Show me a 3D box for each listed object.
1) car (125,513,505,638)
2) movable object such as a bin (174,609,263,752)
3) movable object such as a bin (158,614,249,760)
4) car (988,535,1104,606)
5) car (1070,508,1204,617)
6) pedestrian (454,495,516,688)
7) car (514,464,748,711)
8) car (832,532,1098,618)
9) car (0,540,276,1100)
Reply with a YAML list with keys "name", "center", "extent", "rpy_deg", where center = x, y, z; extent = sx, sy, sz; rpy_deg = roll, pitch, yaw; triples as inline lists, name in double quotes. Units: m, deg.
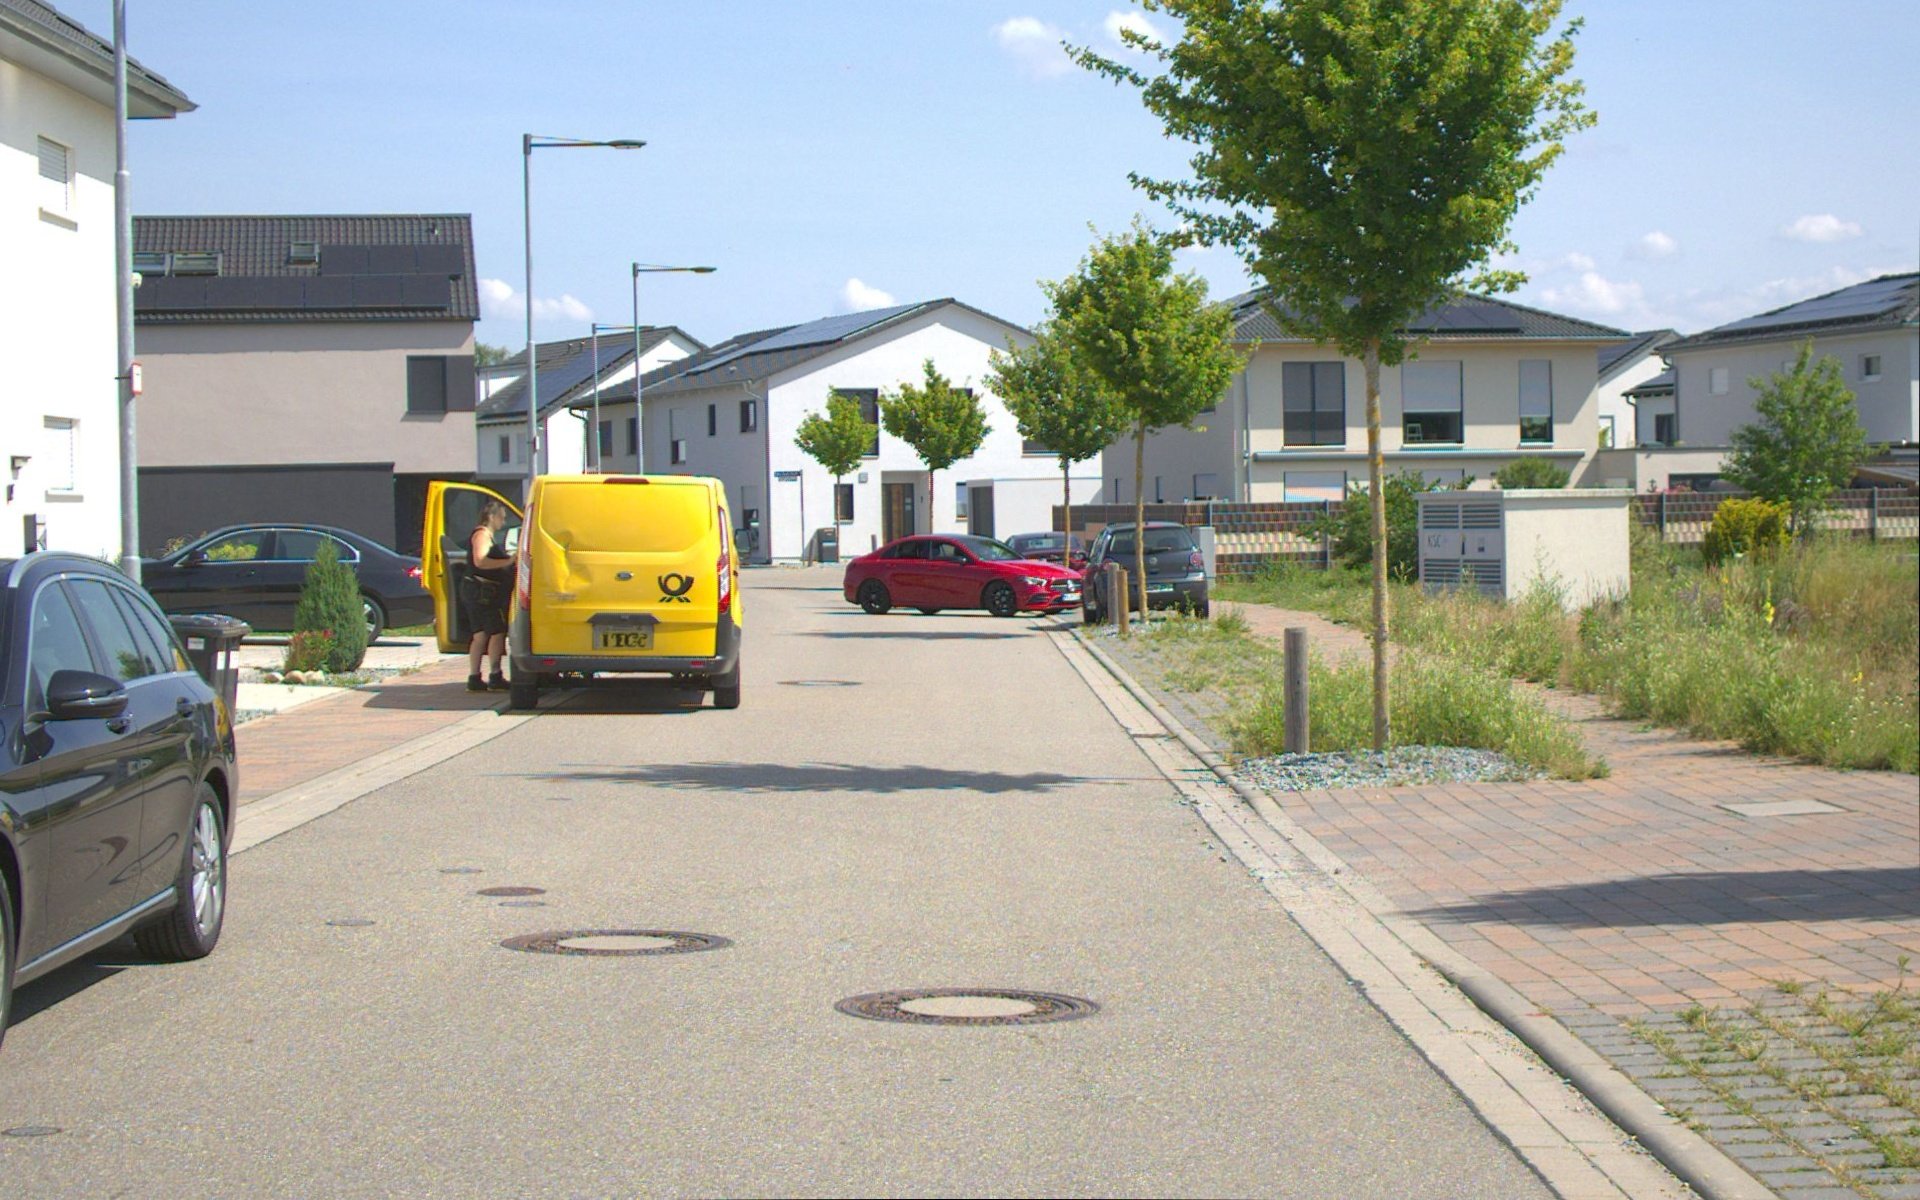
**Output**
- name: "car"
  center: [-7.758, -0.301, 41.269]
  extent: [4.391, 1.447, 1.750]
  rpy_deg: [0, 1, -13]
- name: "movable object such as a bin"
  center: [-4.948, 0.534, 22.965]
  extent: [0.486, 0.922, 0.530]
  rpy_deg: [-1, 1, -3]
- name: "movable object such as a bin"
  center: [-4.928, 0.562, 22.418]
  extent: [0.486, 0.922, 0.530]
  rpy_deg: [-1, 1, -3]
- name: "car"
  center: [1.702, -0.619, 69.525]
  extent: [1.754, 1.358, 4.577]
  rpy_deg: [0, 1, -6]
- name: "car"
  center: [2.560, -0.577, 50.349]
  extent: [1.598, 1.470, 3.675]
  rpy_deg: [-3, 1, -2]
- name: "pedestrian"
  center: [-4.312, -0.082, 31.234]
  extent: [0.531, 1.732, 0.570]
  rpy_deg: [1, 1, -7]
- name: "car"
  center: [-2.907, -0.145, 30.749]
  extent: [1.883, 2.007, 4.842]
  rpy_deg: [1, 1, -5]
- name: "car"
  center: [0.066, -0.459, 60.062]
  extent: [4.515, 1.433, 1.764]
  rpy_deg: [1, 2, 38]
- name: "car"
  center: [-3.431, 0.567, 10.671]
  extent: [1.690, 1.467, 4.445]
  rpy_deg: [2, 1, 0]
